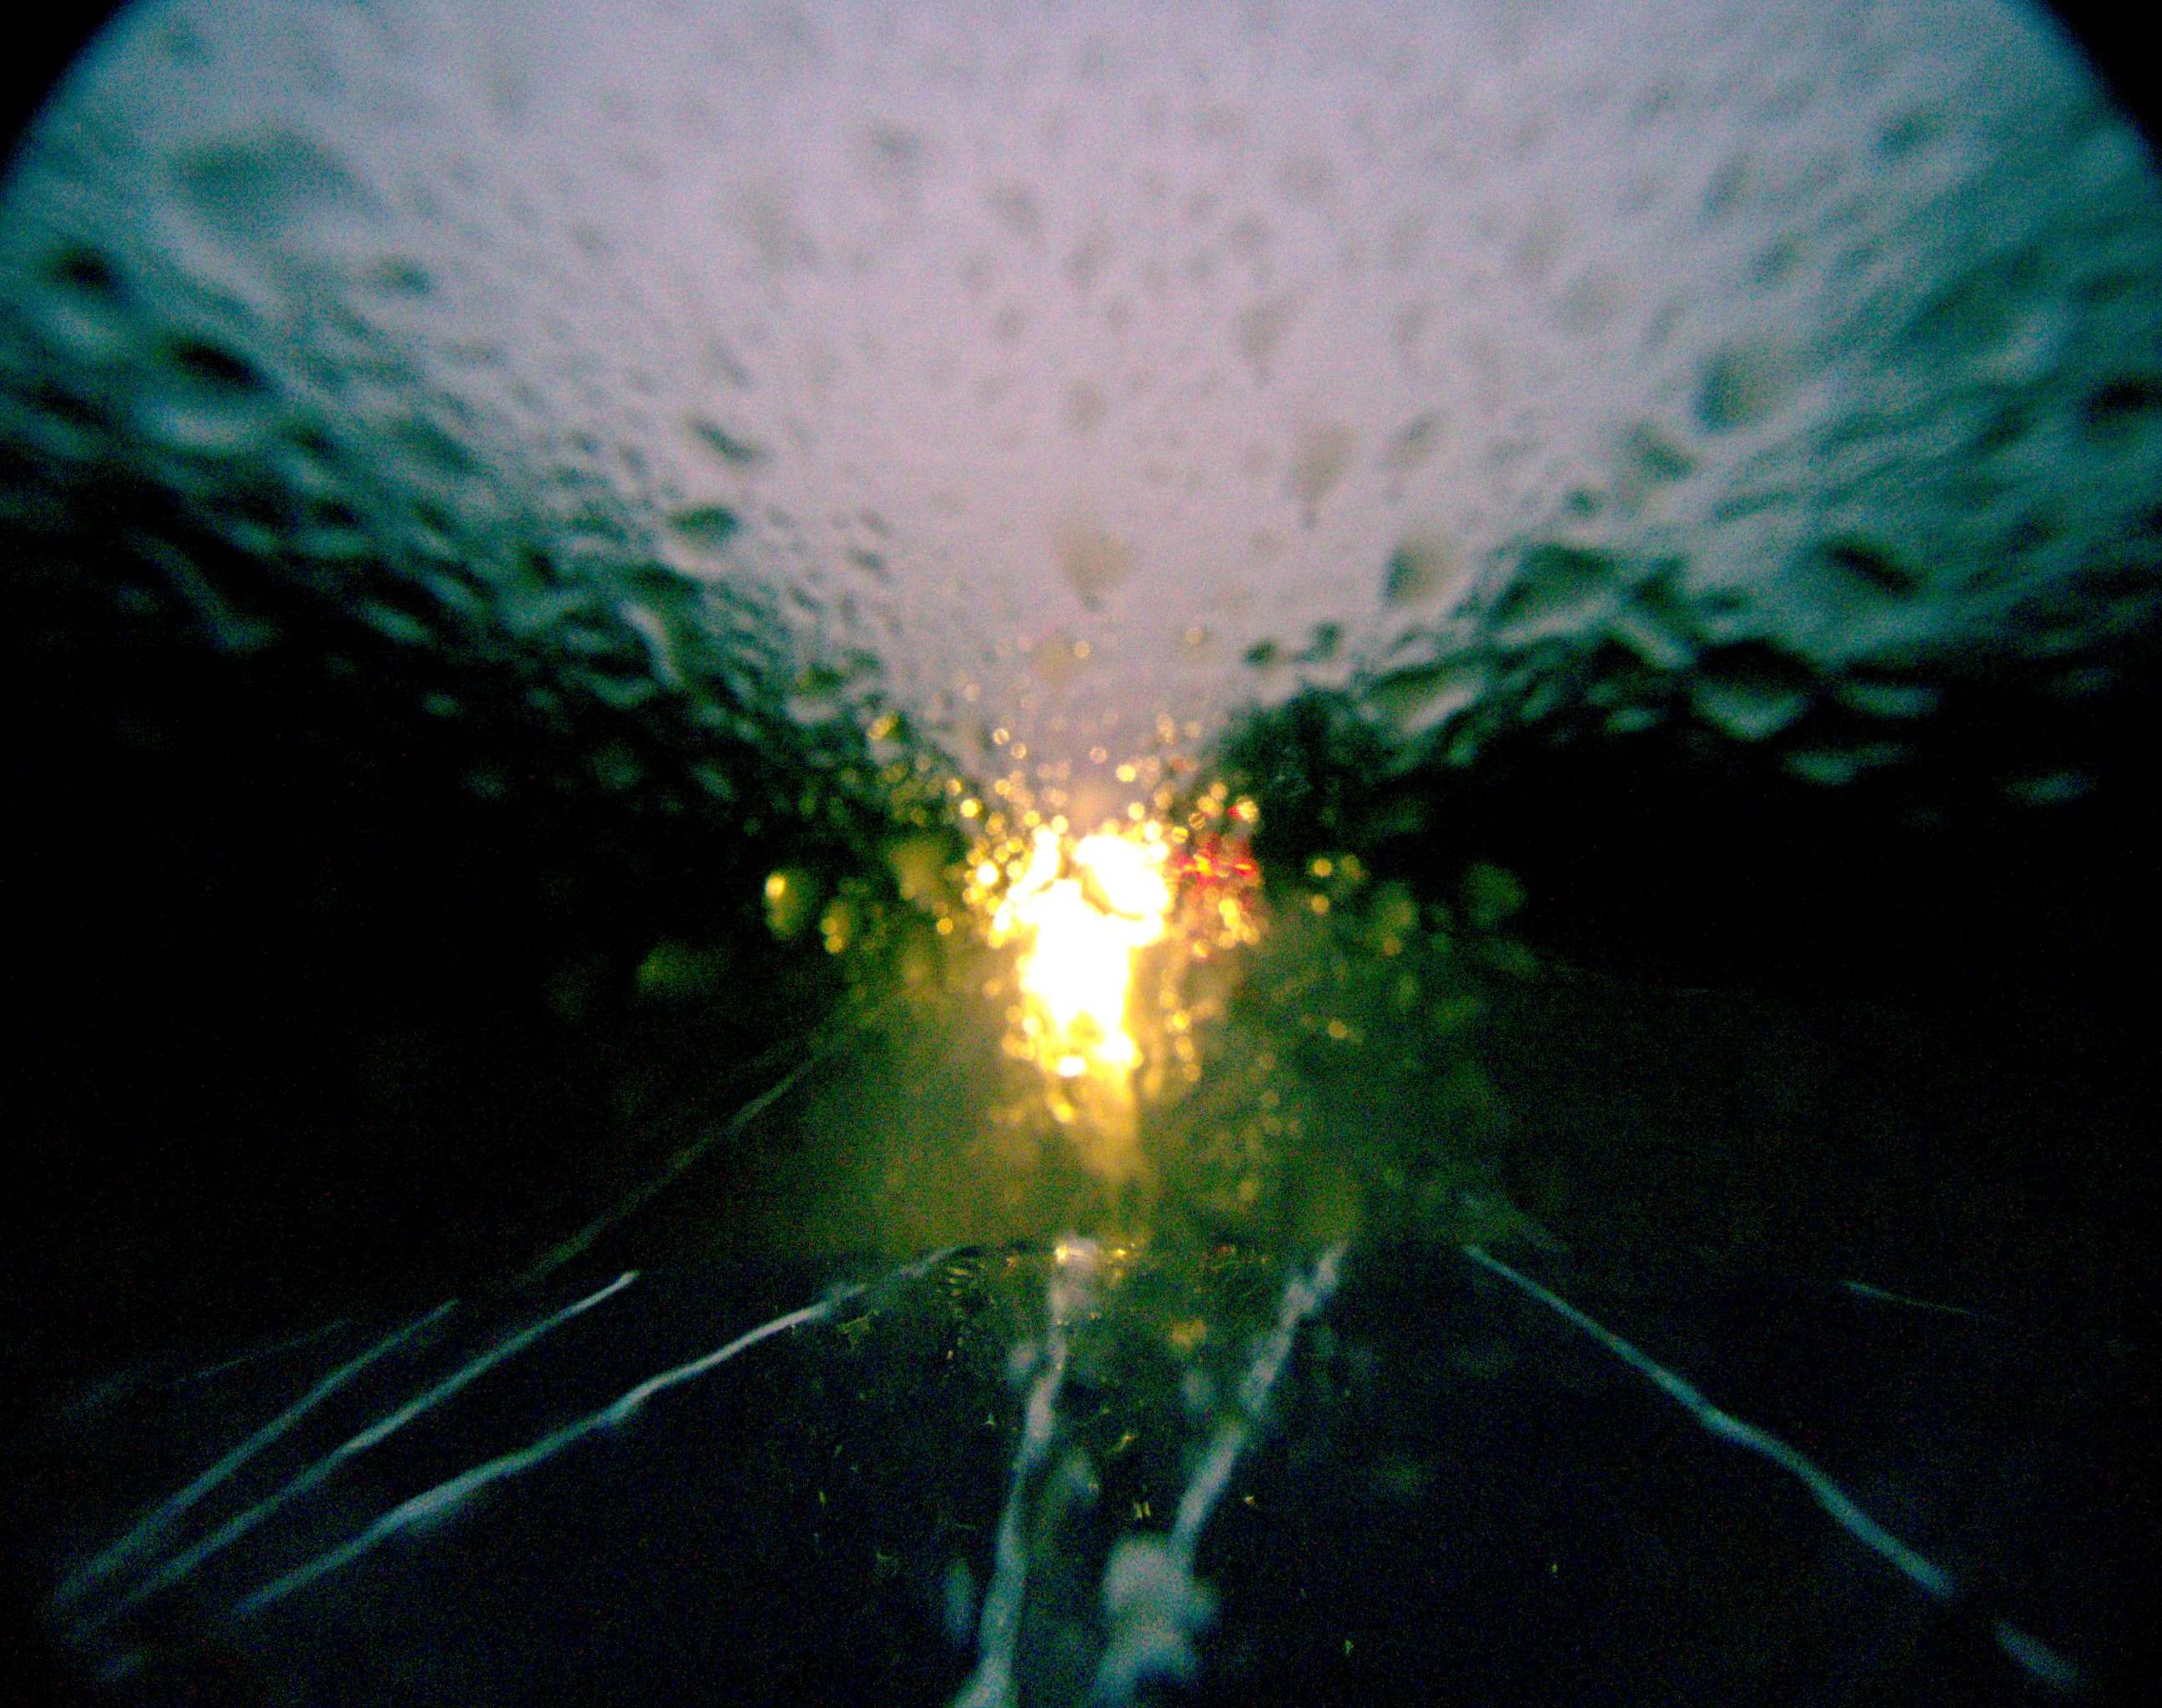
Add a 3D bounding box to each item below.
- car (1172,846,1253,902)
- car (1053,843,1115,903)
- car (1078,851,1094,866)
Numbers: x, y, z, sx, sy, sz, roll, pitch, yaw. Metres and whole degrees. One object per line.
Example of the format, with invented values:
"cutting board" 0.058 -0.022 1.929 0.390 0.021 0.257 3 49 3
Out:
"car" 4.172 0.590 24.697 1.877 1.597 4.195 -2 0 0
"car" 0.185 0.523 24.069 1.572 1.701 4.001 -2 1 5
"car" 0.642 0.530 95.278 1.998 1.752 4.371 -2 1 1
